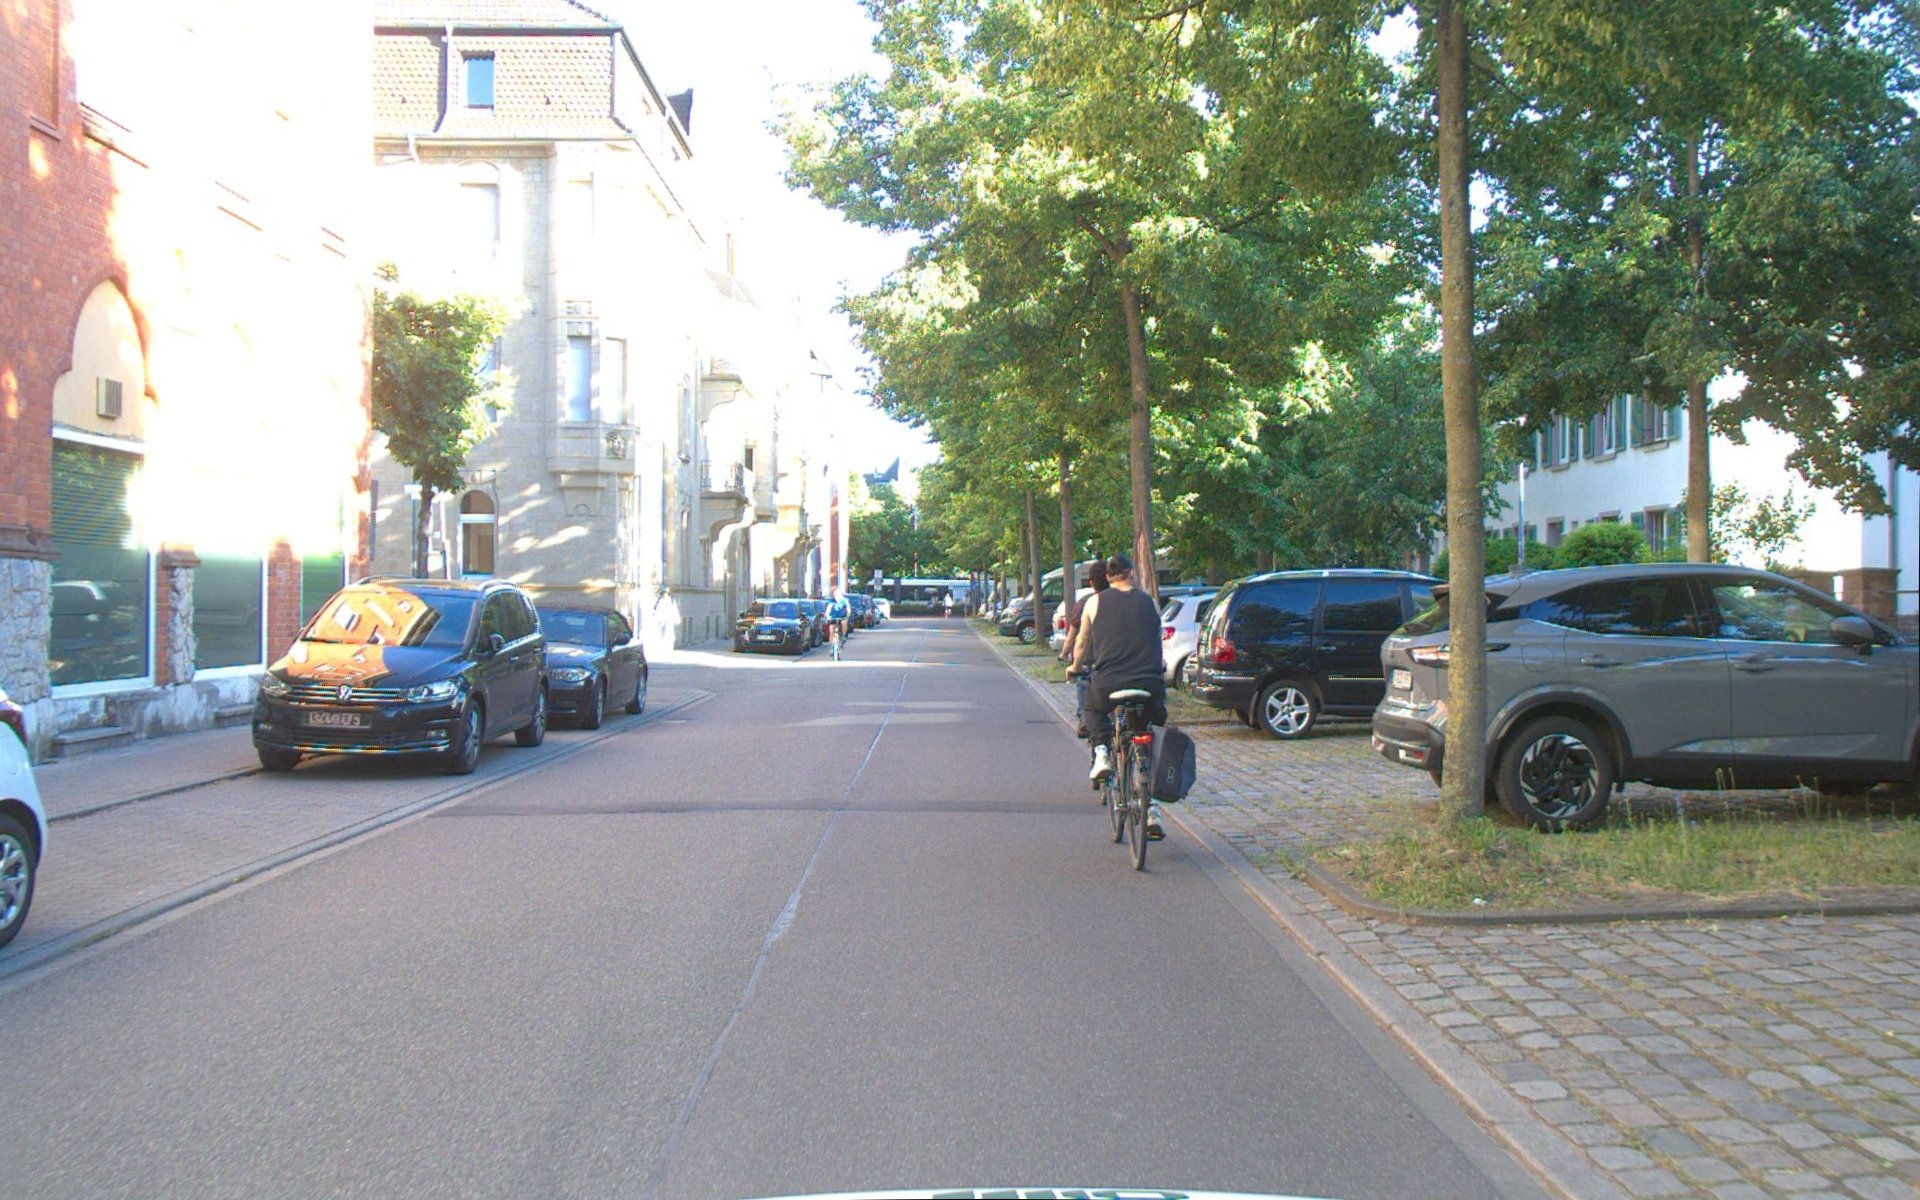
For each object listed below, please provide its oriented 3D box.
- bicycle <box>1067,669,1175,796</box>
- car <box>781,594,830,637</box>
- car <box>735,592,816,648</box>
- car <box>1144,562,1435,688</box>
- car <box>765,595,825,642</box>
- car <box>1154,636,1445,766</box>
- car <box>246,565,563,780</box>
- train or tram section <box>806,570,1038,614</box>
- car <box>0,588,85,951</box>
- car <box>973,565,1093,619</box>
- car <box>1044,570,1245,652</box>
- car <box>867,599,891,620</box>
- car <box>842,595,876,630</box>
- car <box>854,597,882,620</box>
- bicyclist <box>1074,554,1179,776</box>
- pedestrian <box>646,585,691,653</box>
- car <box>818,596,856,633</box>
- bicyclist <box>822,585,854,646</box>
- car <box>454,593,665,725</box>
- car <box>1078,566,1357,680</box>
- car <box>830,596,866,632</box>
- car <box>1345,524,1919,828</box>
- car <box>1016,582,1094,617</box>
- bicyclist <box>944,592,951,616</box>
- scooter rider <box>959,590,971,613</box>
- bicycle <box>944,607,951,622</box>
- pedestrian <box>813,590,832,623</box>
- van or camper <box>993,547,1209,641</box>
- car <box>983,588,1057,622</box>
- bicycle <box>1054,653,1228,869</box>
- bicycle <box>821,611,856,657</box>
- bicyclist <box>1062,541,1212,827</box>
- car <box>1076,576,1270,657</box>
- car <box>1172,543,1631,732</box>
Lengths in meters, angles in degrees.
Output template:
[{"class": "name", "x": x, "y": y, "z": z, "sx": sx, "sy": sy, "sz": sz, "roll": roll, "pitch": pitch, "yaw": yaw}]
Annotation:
[{"class": "bicycle", "x": 1.210, "y": 0.987, "z": 12.748, "sx": 0.620, "sy": 0.813, "sz": 1.832, "roll": -1, "pitch": 0, "yaw": -1}, {"class": "car", "x": -5.564, "y": 0.528, "z": 60.009, "sx": 1.596, "sy": 1.478, "sz": 3.835, "roll": 1, "pitch": 0, "yaw": -3}, {"class": "car", "x": -5.163, "y": 0.548, "z": 46.798, "sx": 1.774, "sy": 1.451, "sz": 4.897, "roll": 2, "pitch": 0, "yaw": -1}, {"class": "car", "x": 5.074, "y": 0.380, "z": 25.884, "sx": 4.184, "sy": 1.662, "sz": 1.691, "roll": -3, "pitch": 0, "yaw": 2}, {"class": "car", "x": -5.284, "y": 0.594, "z": 53.423, "sx": 1.662, "sy": 1.479, "sz": 4.026, "roll": 0, "pitch": -1, "yaw": -2}, {"class": "car", "x": 4.651, "y": 1.372, "z": 22.994, "sx": 3.647, "sy": 1.479, "sz": 1.588, "roll": -3, "pitch": 0, "yaw": -1}, {"class": "car", "x": -4.985, "y": 0.595, "z": 15.482, "sx": 1.636, "sy": 1.710, "sz": 4.348, "roll": 1, "pitch": 0, "yaw": -3}, {"class": "train or tram section", "x": -3.598, "y": -0.746, "z": 166.372, "sx": 23.483, "sy": 3.773, "sz": 4.255, "roll": 2, "pitch": -1, "yaw": -23}, {"class": "car", "x": -4.750, "y": 0.702, "z": 5.657, "sx": 1.534, "sy": 1.496, "sz": 3.592, "roll": 1, "pitch": 0, "yaw": 1}, {"class": "car", "x": 4.385, "y": -0.466, "z": 100.725, "sx": 7.005, "sy": 3.030, "sz": 2.463, "roll": -2, "pitch": 0, "yaw": -4}, {"class": "car", "x": 4.318, "y": 0.252, "z": 39.186, "sx": 4.524, "sy": 1.739, "sz": 1.833, "roll": -2, "pitch": 0, "yaw": 1}, {"class": "car", "x": -6.053, "y": 0.690, "z": 123.725, "sx": 1.551, "sy": 1.399, "sz": 4.131, "roll": 2, "pitch": 1, "yaw": 0}, {"class": "car", "x": -5.806, "y": 0.690, "z": 95.524, "sx": 1.654, "sy": 1.857, "sz": 4.272, "roll": 2, "pitch": 1, "yaw": 0}, {"class": "car", "x": -5.870, "y": 0.549, "z": 105.775, "sx": 1.551, "sy": 1.367, "sz": 4.131, "roll": 2, "pitch": 1, "yaw": 0}, {"class": "bicyclist", "x": 1.277, "y": 0.485, "z": 12.828, "sx": 0.675, "sy": 1.655, "sz": 0.998, "roll": 0, "pitch": 0, "yaw": -2}, {"class": "pedestrian", "x": -7.079, "y": 0.457, "z": 40.191, "sx": 0.870, "sy": 1.604, "sz": 1.053, "roll": -1, "pitch": 1, "yaw": -1}, {"class": "car", "x": -5.594, "y": 0.647, "z": 75.303, "sx": 1.564, "sy": 1.514, "sz": 2.735, "roll": 3, "pitch": 0, "yaw": -2}, {"class": "bicyclist", "x": -3.041, "y": 0.387, "z": 41.297, "sx": 0.744, "sy": 1.479, "sz": 0.948, "roll": -1, "pitch": -1, "yaw": -1}, {"class": "car", "x": -4.940, "y": 0.679, "z": 20.990, "sx": 1.602, "sy": 1.435, "sz": 4.332, "roll": 2, "pitch": 0, "yaw": -1}, {"class": "car", "x": 4.461, "y": 0.382, "z": 29.026, "sx": 4.453, "sy": 1.662, "sz": 1.810, "roll": -3, "pitch": 0, "yaw": -7}, {"class": "car", "x": -5.985, "y": 0.737, "z": 88.902, "sx": 1.607, "sy": 1.814, "sz": 4.354, "roll": 2, "pitch": 1, "yaw": 0}, {"class": "car", "x": 5.026, "y": 0.418, "z": 11.030, "sx": 4.386, "sy": 1.662, "sz": 1.874, "roll": -3, "pitch": 0, "yaw": -2}, {"class": "car", "x": 4.591, "y": -0.016, "z": 79.958, "sx": 3.695, "sy": 1.628, "sz": 1.691, "roll": -1, "pitch": -2, "yaw": 1}, {"class": "bicyclist", "x": -0.915, "y": 0.317, "z": 121.728, "sx": 0.476, "sy": 1.775, "sz": 0.655, "roll": 1, "pitch": -1, "yaw": -1}, {"class": "scooter rider", "x": 0.419, "y": 0.117, "z": 133.049, "sx": 0.854, "sy": 1.873, "sz": 0.670, "roll": 1, "pitch": -1, "yaw": -6}, {"class": "bicycle", "x": -0.924, "y": 1.076, "z": 121.739, "sx": 0.488, "sy": 1.023, "sz": 1.473, "roll": 1, "pitch": -2, "yaw": -1}, {"class": "pedestrian", "x": -7.609, "y": 0.349, "z": 91.366, "sx": 0.919, "sy": 1.773, "sz": 0.735, "roll": 1, "pitch": -1, "yaw": 0}, {"class": "van or camper", "x": 4.699, "y": -0.191, "z": 55.924, "sx": 7.000, "sy": 2.693, "sz": 2.465, "roll": -3, "pitch": 0, "yaw": 1}, {"class": "car", "x": 3.355, "y": 0.267, "z": 93.357, "sx": 4.001, "sy": 1.678, "sz": 1.640, "roll": -3, "pitch": 0, "yaw": -3}, {"class": "bicycle", "x": 1.007, "y": 0.875, "z": 9.659, "sx": 0.722, "sy": 1.072, "sz": 1.955, "roll": 2, "pitch": -1, "yaw": -2}, {"class": "bicycle", "x": -3.031, "y": 0.838, "z": 41.359, "sx": 0.742, "sy": 1.127, "sz": 1.907, "roll": -1, "pitch": -1, "yaw": -1}, {"class": "bicyclist", "x": 1.017, "y": 0.476, "z": 9.691, "sx": 0.715, "sy": 1.575, "sz": 0.884, "roll": 2, "pitch": -1, "yaw": -2}, {"class": "car", "x": 4.640, "y": 0.335, "z": 36.429, "sx": 3.985, "sy": 1.502, "sz": 1.694, "roll": -3, "pitch": 1, "yaw": 0}, {"class": "car", "x": 4.731, "y": 0.390, "z": 18.232, "sx": 4.487, "sy": 1.706, "sz": 1.907, "roll": -3, "pitch": 0, "yaw": 1}]
